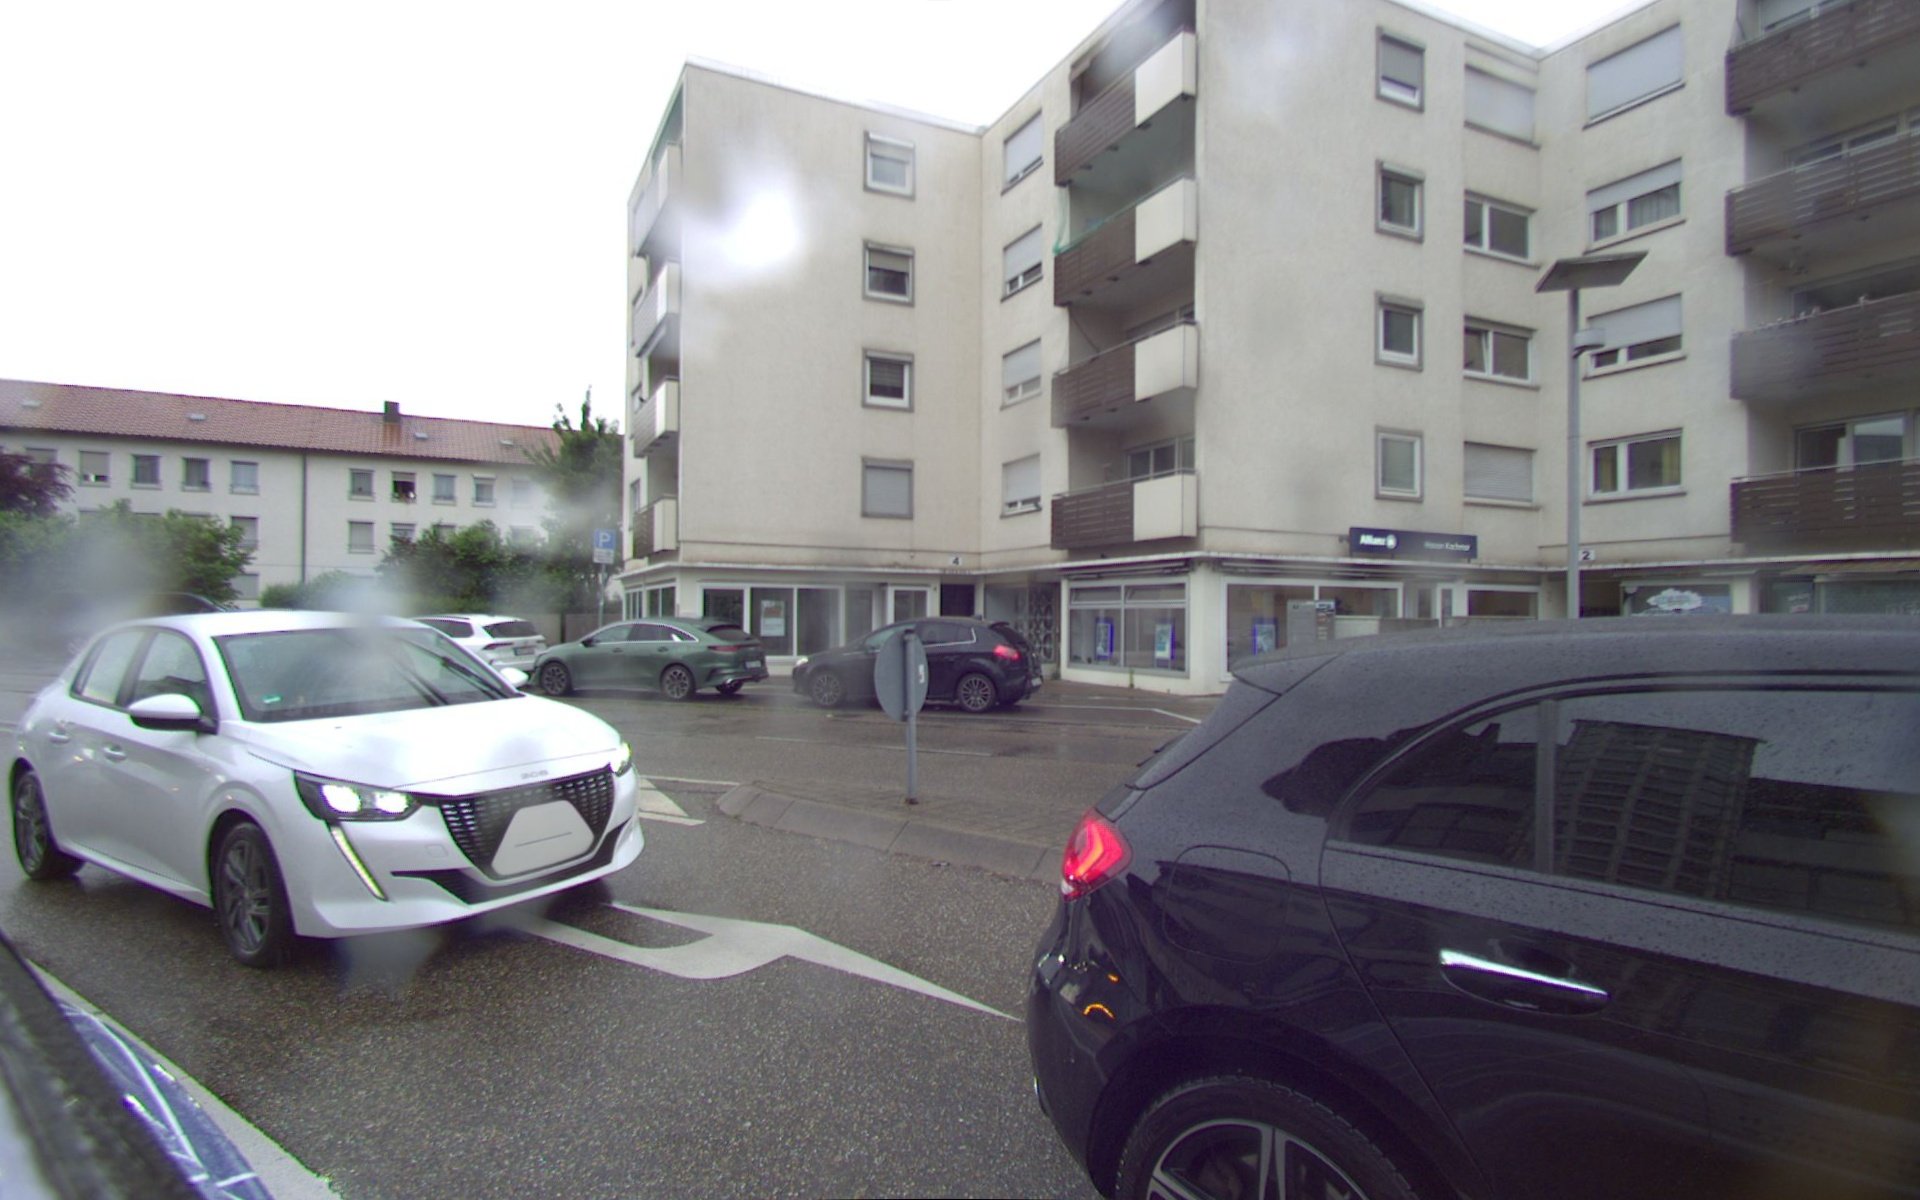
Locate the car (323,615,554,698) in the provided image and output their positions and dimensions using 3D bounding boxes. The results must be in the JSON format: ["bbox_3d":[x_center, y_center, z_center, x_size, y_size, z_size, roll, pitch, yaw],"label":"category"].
[{"bbox_3d":[-10.475,1.072,20.336,4.313,1.511,1.627,0,-1,20],"label":"car"}]

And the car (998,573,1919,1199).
[{"bbox_3d":[2.179,0.687,1.316,4.090,1.492,1.646,-2,-1,40],"label":"car"}]

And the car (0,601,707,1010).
[{"bbox_3d":[-3.367,0.750,5.327,3.882,1.420,1.726,-1,0,31],"label":"car"}]

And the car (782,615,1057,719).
[{"bbox_3d":[-0.644,1.019,16.640,4.156,1.471,1.825,0,0,20],"label":"car"}]

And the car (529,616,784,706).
[{"bbox_3d":[-5.539,1.041,18.529,4.241,1.445,1.826,0,0,19],"label":"car"}]

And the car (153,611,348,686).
[{"bbox_3d":[-15.650,1.030,22.346,3.852,1.517,1.623,0,-1,20],"label":"car"}]
